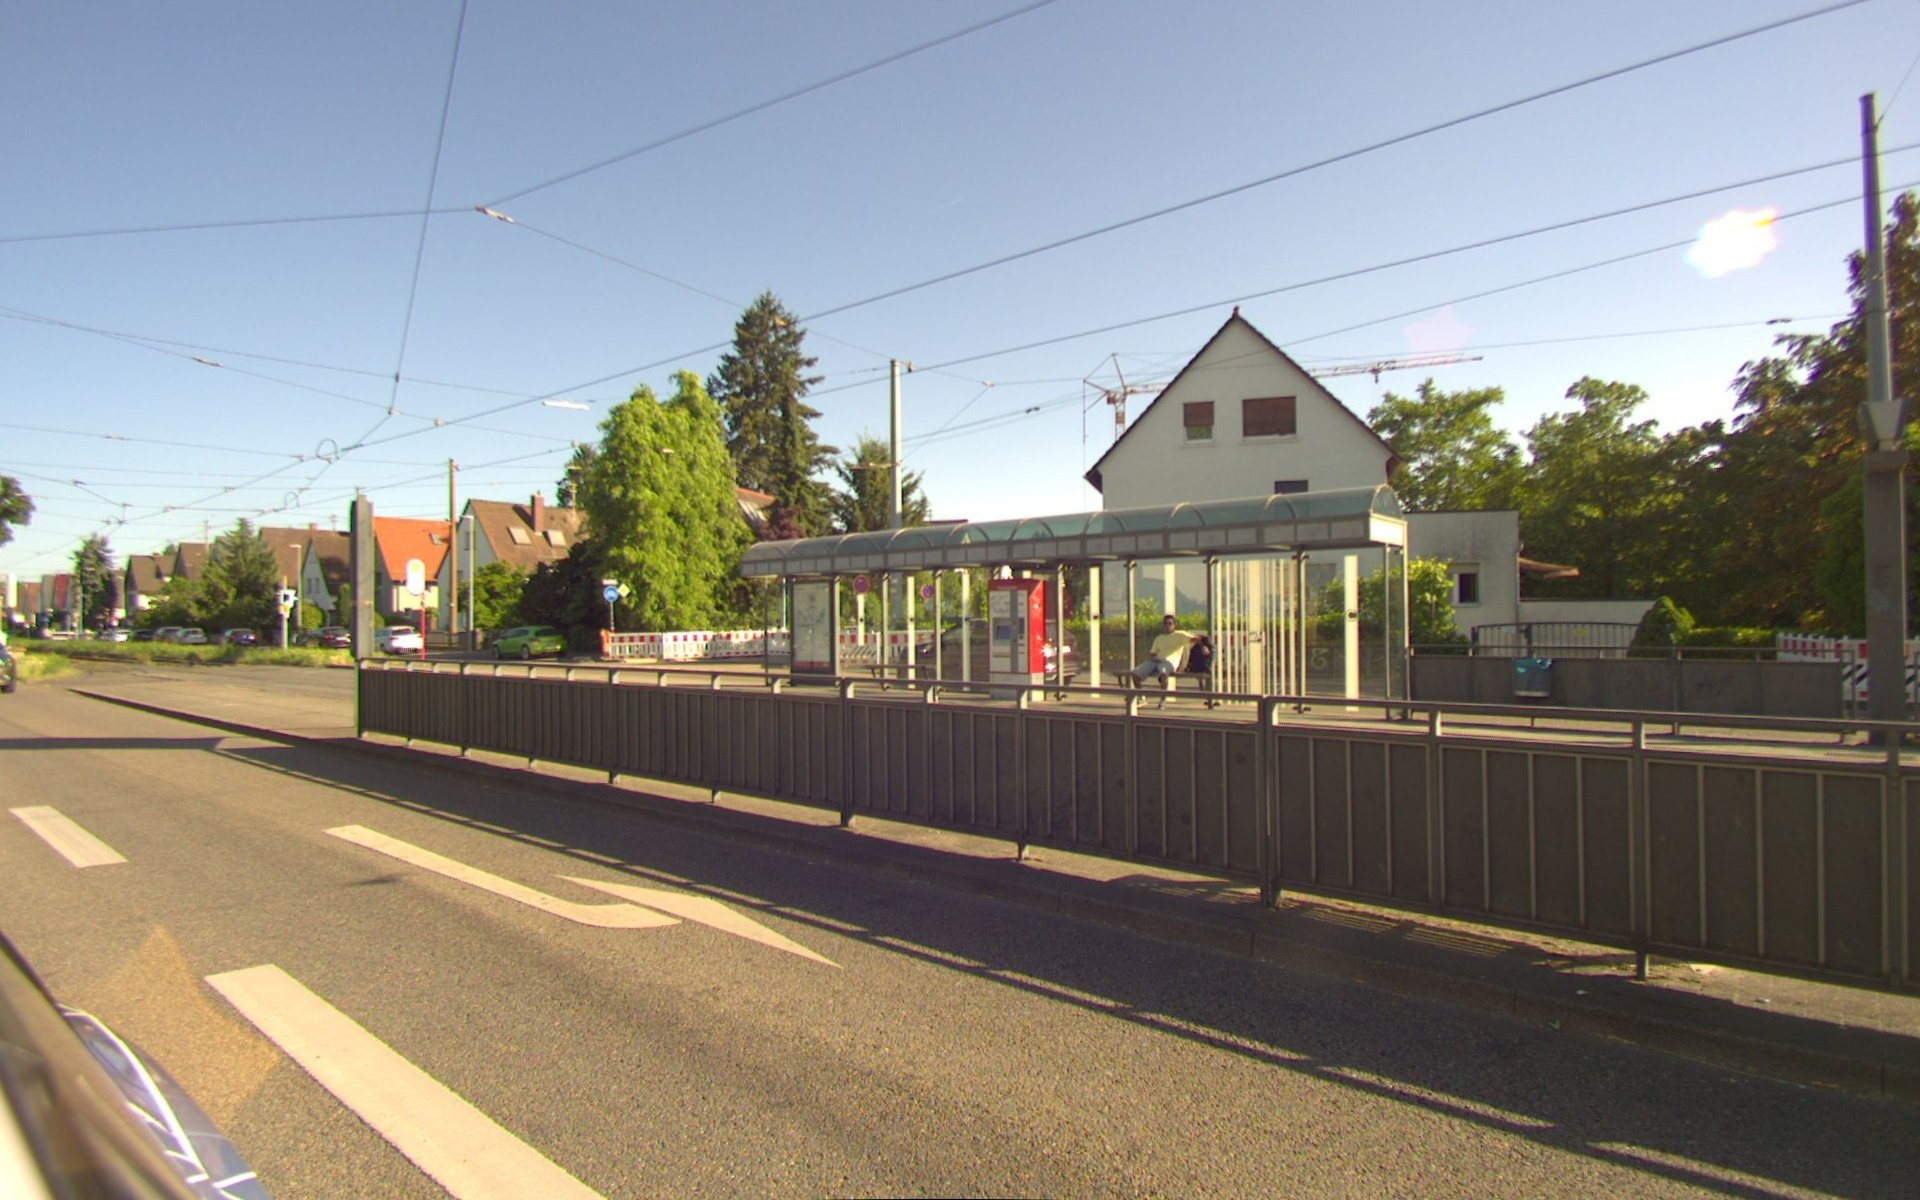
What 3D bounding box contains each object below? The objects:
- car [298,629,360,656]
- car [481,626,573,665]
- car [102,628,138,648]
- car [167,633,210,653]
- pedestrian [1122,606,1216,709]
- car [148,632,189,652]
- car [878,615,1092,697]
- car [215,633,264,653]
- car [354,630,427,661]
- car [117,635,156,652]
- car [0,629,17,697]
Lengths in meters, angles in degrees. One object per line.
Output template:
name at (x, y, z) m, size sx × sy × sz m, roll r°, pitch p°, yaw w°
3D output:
car at (-37.357, 2.464, 59.849) m, size 4.438 × 1.477 × 1.887 m, roll -1°, pitch 0°, yaw 41°
car at (-18.756, 1.938, 43.787) m, size 4.064 × 1.512 × 1.974 m, roll -1°, pitch 0°, yaw 39°
car at (-81.609, 3.680, 98.318) m, size 4.582 × 1.877 × 1.973 m, roll -2°, pitch -2°, yaw 41°
car at (-62.235, 3.434, 81.593) m, size 4.837 × 1.483 × 1.864 m, roll -2°, pitch 0°, yaw 42°
pedestrian at (3.118, 0.849, 15.076) m, size 1.006 × 1.464 × 1.050 m, roll -1°, pitch -4°, yaw 40°
car at (-66.225, 3.489, 84.696) m, size 4.534 × 1.573 × 1.864 m, roll -2°, pitch 0°, yaw 41°
car at (0.442, 1.119, 21.061) m, size 4.341 × 1.532 × 1.717 m, roll -2°, pitch -2°, yaw 41°
car at (-51.533, 3.054, 72.396) m, size 4.308 × 1.382 × 1.972 m, roll -2°, pitch -2°, yaw 42°
car at (-30.112, 2.394, 53.471) m, size 4.610 × 1.483 × 1.865 m, roll -1°, pitch 0°, yaw 40°
car at (-75.105, 3.942, 92.293) m, size 4.980 × 1.351 × 1.973 m, roll -1°, pitch 0°, yaw 41°
car at (-22.686, 1.411, 22.656) m, size 4.329 × 1.461 × 1.757 m, roll -2°, pitch -2°, yaw 39°
